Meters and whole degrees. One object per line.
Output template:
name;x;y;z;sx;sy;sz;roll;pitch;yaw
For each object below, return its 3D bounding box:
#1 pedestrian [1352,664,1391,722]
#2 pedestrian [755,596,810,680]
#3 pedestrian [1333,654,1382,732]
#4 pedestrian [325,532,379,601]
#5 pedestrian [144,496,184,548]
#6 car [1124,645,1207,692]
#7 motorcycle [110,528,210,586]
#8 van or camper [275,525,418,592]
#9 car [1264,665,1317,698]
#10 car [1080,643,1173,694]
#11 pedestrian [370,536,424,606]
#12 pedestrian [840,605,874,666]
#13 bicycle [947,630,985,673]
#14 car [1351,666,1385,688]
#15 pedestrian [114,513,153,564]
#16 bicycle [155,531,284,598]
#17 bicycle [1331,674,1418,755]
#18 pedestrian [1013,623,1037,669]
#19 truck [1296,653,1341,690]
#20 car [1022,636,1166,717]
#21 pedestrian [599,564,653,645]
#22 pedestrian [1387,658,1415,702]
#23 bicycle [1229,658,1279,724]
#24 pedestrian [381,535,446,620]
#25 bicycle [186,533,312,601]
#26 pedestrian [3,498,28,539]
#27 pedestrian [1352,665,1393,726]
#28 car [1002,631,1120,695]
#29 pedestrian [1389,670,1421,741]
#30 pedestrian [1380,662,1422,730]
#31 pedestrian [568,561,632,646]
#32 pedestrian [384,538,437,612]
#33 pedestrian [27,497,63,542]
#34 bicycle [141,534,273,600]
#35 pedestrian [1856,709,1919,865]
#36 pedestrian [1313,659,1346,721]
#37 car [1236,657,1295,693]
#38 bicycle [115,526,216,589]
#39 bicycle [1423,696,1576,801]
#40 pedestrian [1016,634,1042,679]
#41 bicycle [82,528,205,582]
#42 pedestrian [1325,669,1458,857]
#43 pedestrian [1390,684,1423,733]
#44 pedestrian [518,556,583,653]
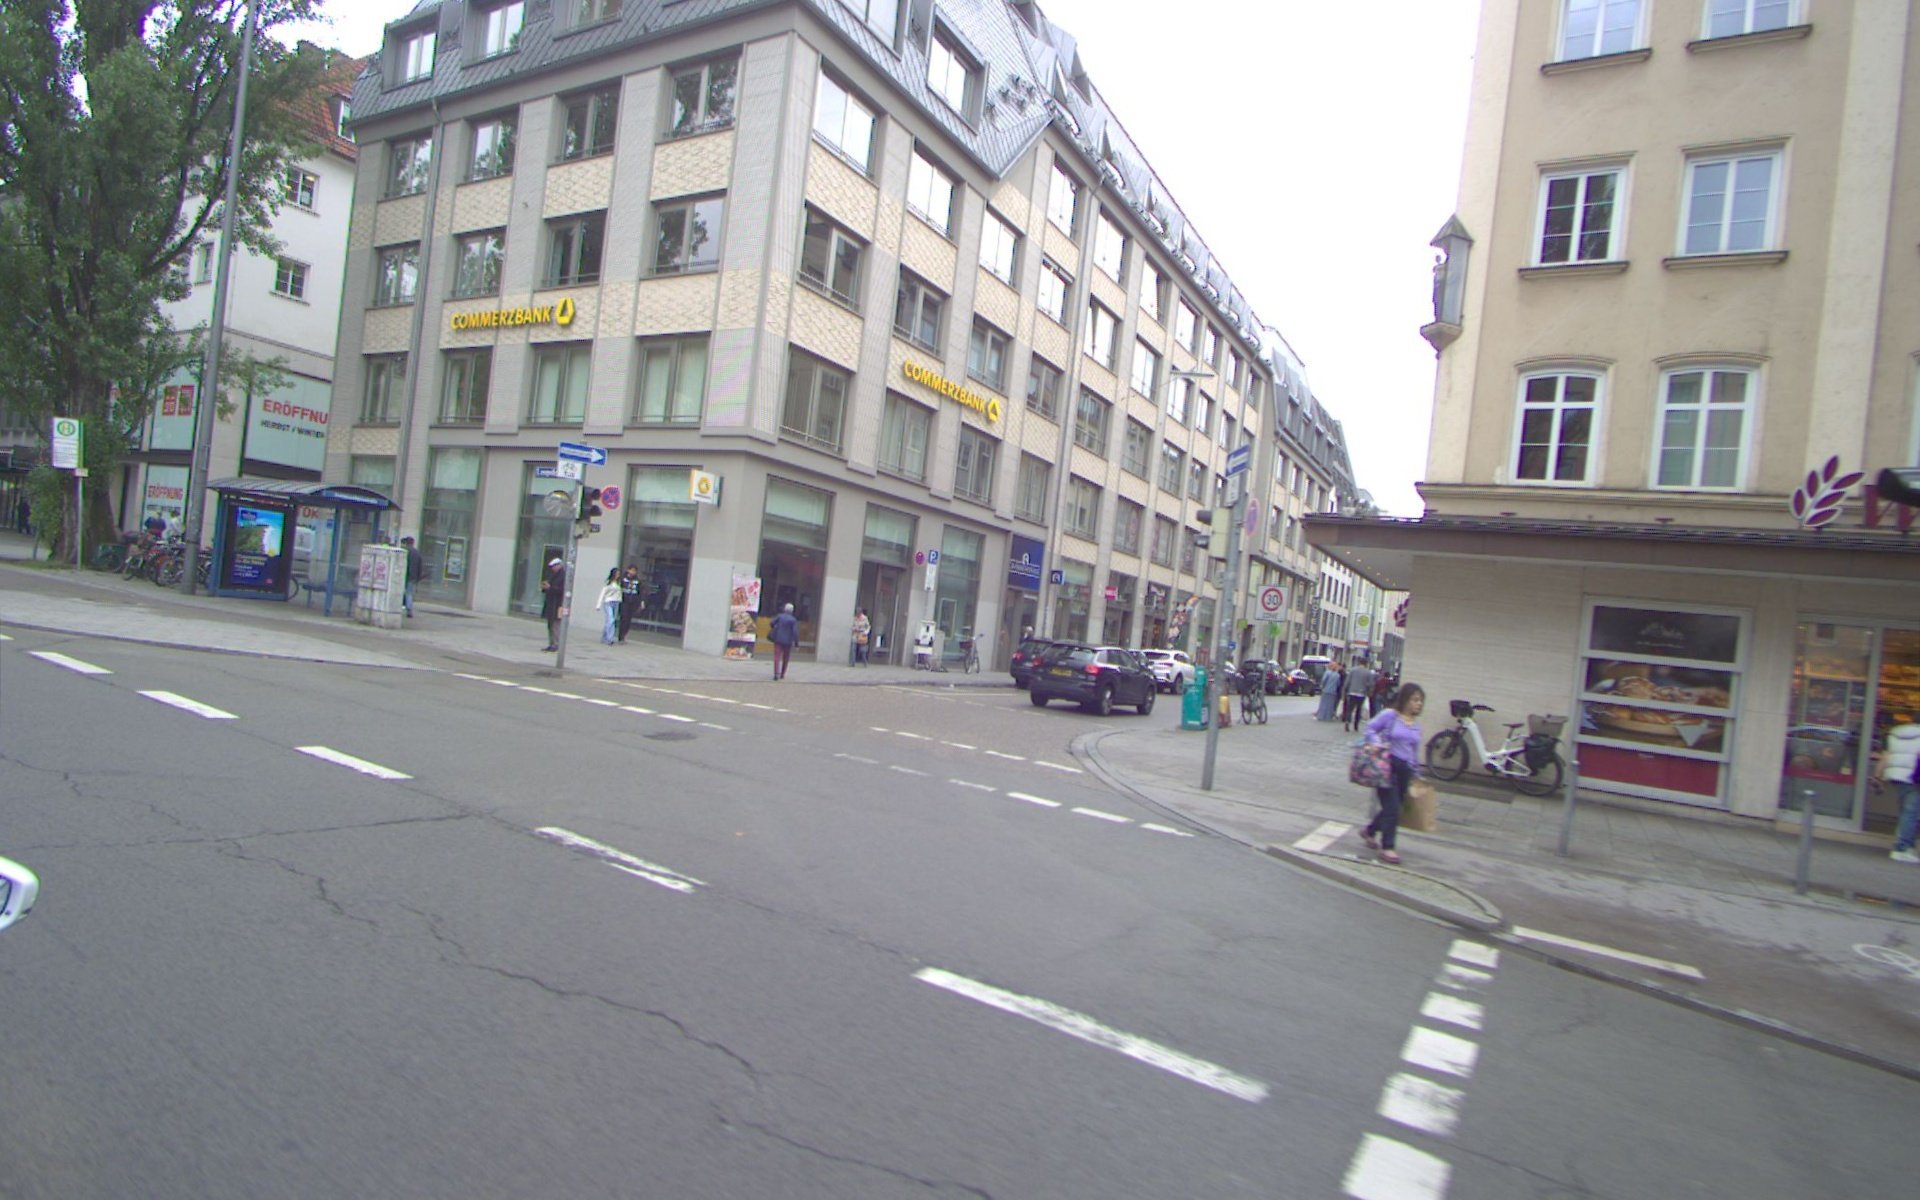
pedestrian;12.472;2.828;30.489;0.805;1.628;0.867;6;-2;32
pedestrian;-3.696;0.794;20.967;0.722;1.657;0.750;4;0;33
pedestrian;9.760;2.282;24.697;0.667;1.788;0.999;6;-2;40
pedestrian;-16.091;-0.879;26.633;0.947;1.698;0.751;7;0;32
pedestrian;-29.009;-2.833;36.663;0.947;1.739;0.751;7;0;31
car;7.766;2.613;37.823;1.730;1.479;3.692;7;-1;32
motorcycle;-19.060;-1.000;24.005;0.501;1.153;1.727;7;-1;32
van or camper;-23.437;-1.550;38.571;1.868;1.888;4.110;6;-3;35
car;17.598;4.371;53.517;1.730;1.478;3.994;7;-1;31
car;5.766;2.385;34.599;1.730;1.479;3.692;7;-1;32
pedestrian;-15.195;-0.785;27.146;0.947;1.738;0.751;7;0;32
pedestrian;-2.719;0.949;26.647;0.574;1.550;0.444;7;0;28
bicycle;0.195;1.602;30.912;0.440;1.226;1.744;7;-1;21
car;32.268;6.082;79.575;1.730;1.479;3.692;7;-1;32
pedestrian;-29.559;-2.185;35.976;0.947;1.683;0.653;6;0;32
bicycle;-17.252;-0.797;23.511;0.469;1.267;2.319;7;-1;30
bicycle;7.746;2.129;18.700;0.983;1.267;2.977;6;-3;30
pedestrian;2.263;1.615;35.100;0.573;1.538;0.445;6;0;22
truck;22.496;4.482;63.036;1.730;2.005;3.994;7;-1;31
car;3.160;1.754;22.976;1.730;1.479;3.994;7;-1;30
pedestrian;-7.803;0.110;23.529;0.699;1.779;0.751;7;0;32
pedestrian;19.557;3.560;44.616;0.820;1.824;0.867;6;-2;32
bicycle;6.791;2.099;23.196;0.473;1.403;1.830;7;-1;32
pedestrian;-12.734;-0.524;23.443;0.875;1.840;0.819;7;0;30
bicycle;-16.191;-0.738;22.962;2.226;1.267;0.473;8;-1;-35
pedestrian;-40.854;-3.523;43.513;0.760;1.632;0.668;9;5;38
pedestrian;11.853;2.743;28.888;0.805;1.628;0.867;6;-2;32
car;3.056;1.900;29.718;1.730;1.567;3.992;7;-1;32
pedestrian;10.262;2.438;23.184;0.437;1.575;0.583;6;-1;32
pedestrian;12.444;2.716;28.401;0.805;1.788;0.867;6;-2;32
pedestrian;-8.145;0.079;22.767;1.000;1.779;0.751;7;0;32
pedestrian;-13.982;-0.635;25.594;0.845;1.779;0.751;4;-1;32
pedestrian;-39.846;-3.498;43.830;0.863;1.851;0.829;7;0;-31
bicycle;-17.776;-0.759;23.814;0.622;1.267;2.347;7;-1;31
pedestrian;11.157;2.187;11.743;0.847;1.723;0.665;4;-1;32
pedestrian;10.378;2.534;28.259;0.576;1.663;0.443;6;-2;40
car;14.983;3.707;49.174;1.730;1.478;3.994;7;-1;31
bicycle;-18.629;-0.974;23.630;0.442;1.254;1.727;7;-1;32
bicycle;7.632;2.077;14.280;1.781;1.184;0.435;6;-2;30
pedestrian;2.258;1.858;33.015;0.574;1.423;0.444;7;0;28
bicycle;-20.237;-1.109;24.986;0.860;1.029;2.152;7;-1;31
pedestrian;3.802;1.420;8.887;0.757;1.536;0.618;5;-1;-15
pedestrian;16.204;3.933;36.491;0.805;1.628;0.867;6;-2;32
pedestrian;-7.937;0.094;19.506;0.740;1.779;0.709;7;0;32
